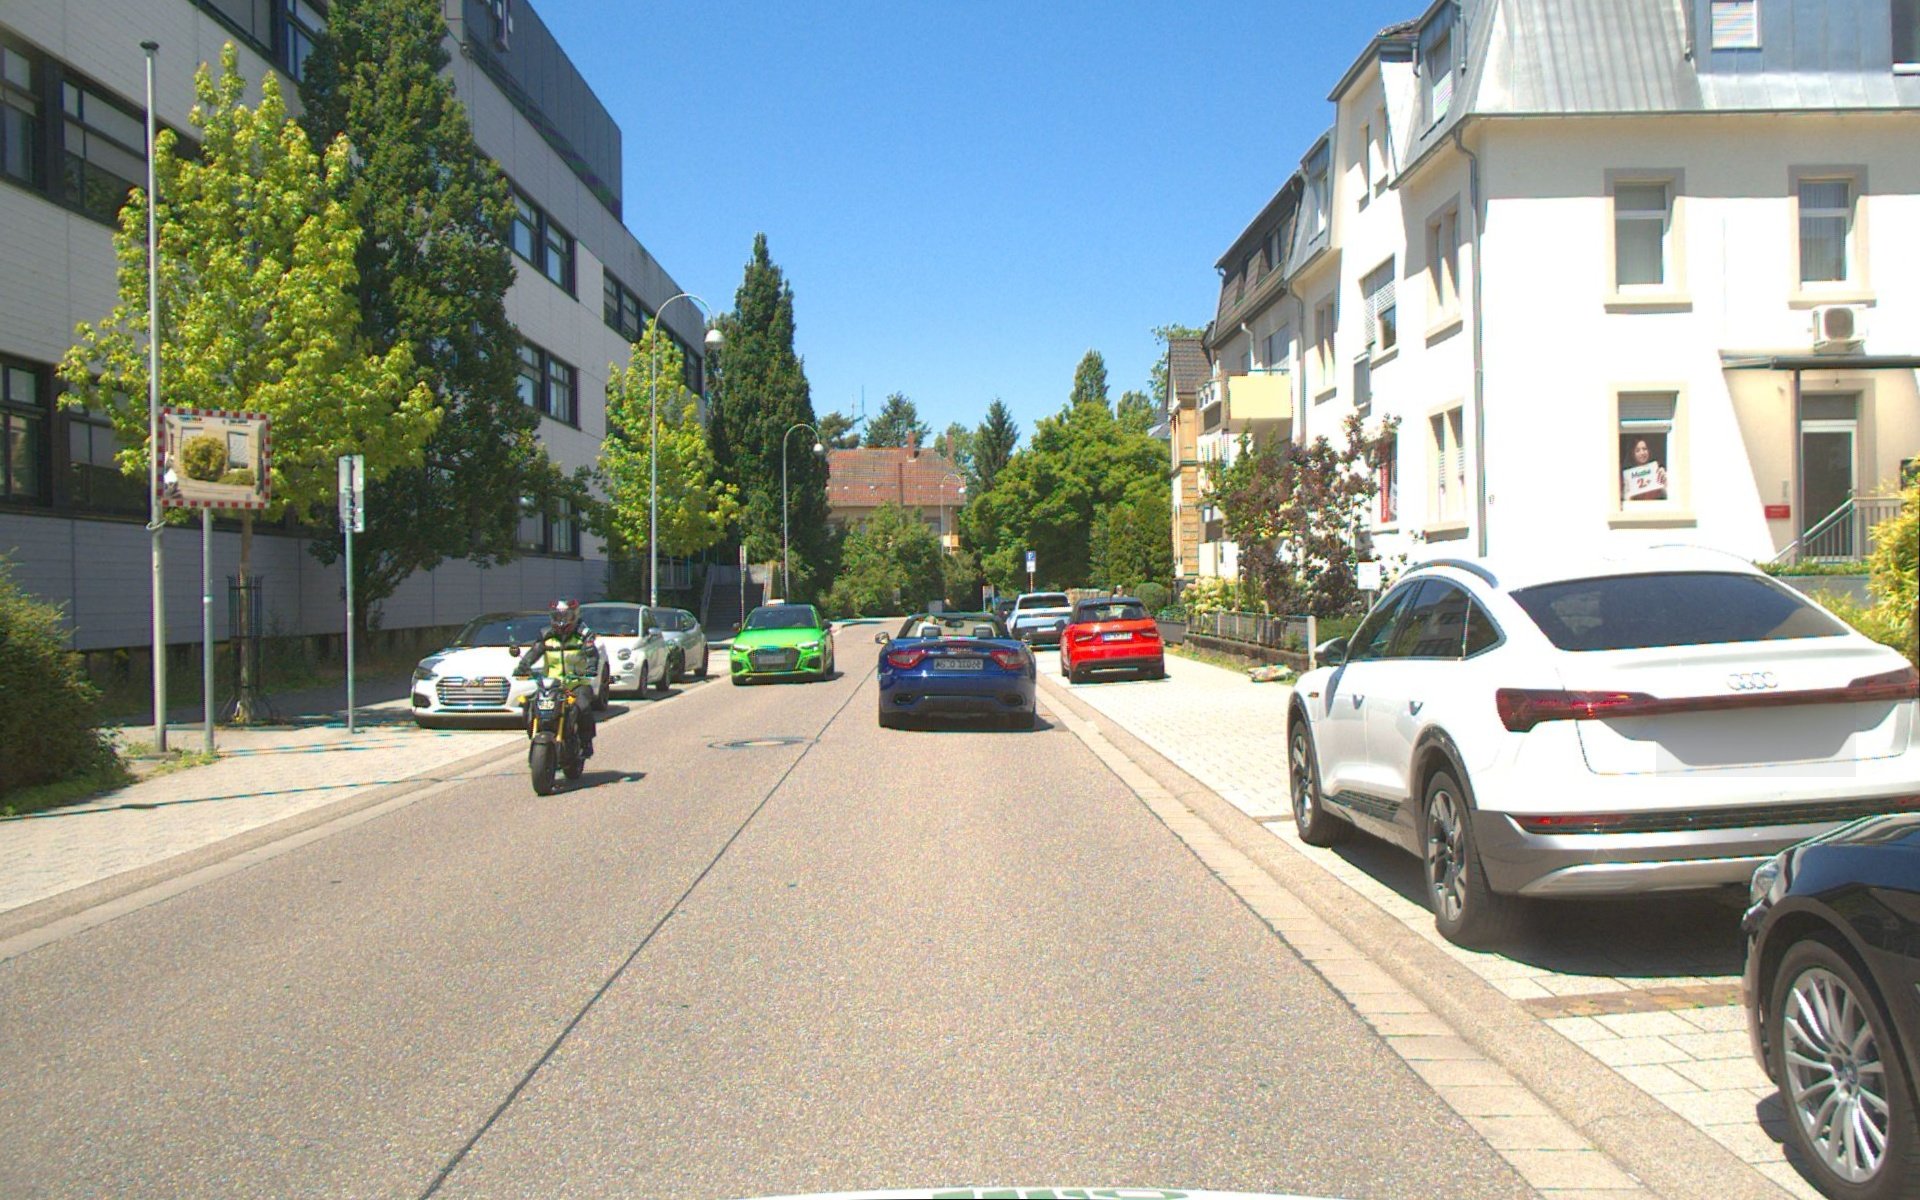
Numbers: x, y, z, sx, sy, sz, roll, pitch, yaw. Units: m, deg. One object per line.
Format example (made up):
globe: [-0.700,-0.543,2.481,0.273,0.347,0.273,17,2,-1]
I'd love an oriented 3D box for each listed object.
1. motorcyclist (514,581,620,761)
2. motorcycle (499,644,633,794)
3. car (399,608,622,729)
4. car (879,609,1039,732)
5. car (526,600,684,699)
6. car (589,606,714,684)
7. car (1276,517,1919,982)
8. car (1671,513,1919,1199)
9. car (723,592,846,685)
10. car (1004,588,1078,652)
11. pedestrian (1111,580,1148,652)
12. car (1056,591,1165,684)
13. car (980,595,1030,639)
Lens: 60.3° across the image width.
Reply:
motorcyclist: [-3.324,0.587,14.029,0.684,1.458,0.707,-2,0,-1]
motorcycle: [-3.322,0.976,14.100,0.684,1.126,1.790,-2,0,-1]
car: [-5.889,0.841,22.237,1.785,1.436,4.576,0,0,-1]
car: [-0.038,0.802,20.827,1.789,1.360,4.699,0,0,-1]
car: [-5.901,0.773,27.985,1.785,1.538,4.289,0,0,-1]
car: [-6.044,0.839,32.776,1.712,1.434,3.933,0,0,0]
car: [2.904,0.546,8.403,1.670,1.695,4.579,-1,0,-1]
car: [2.925,0.555,2.359,1.670,1.583,4.747,-3,0,-1]
car: [-3.327,0.706,32.103,1.785,1.616,4.101,-3,0,1]
car: [2.251,0.551,46.907,1.806,1.647,4.427,-3,0,0]
pedestrian: [4.113,0.387,40.177,0.725,1.698,0.705,-3,0,-2]
car: [2.663,0.631,29.955,1.571,1.466,3.853,-4,0,0]
car: [1.627,0.613,61.349,1.599,1.471,4.397,-3,0,-1]
